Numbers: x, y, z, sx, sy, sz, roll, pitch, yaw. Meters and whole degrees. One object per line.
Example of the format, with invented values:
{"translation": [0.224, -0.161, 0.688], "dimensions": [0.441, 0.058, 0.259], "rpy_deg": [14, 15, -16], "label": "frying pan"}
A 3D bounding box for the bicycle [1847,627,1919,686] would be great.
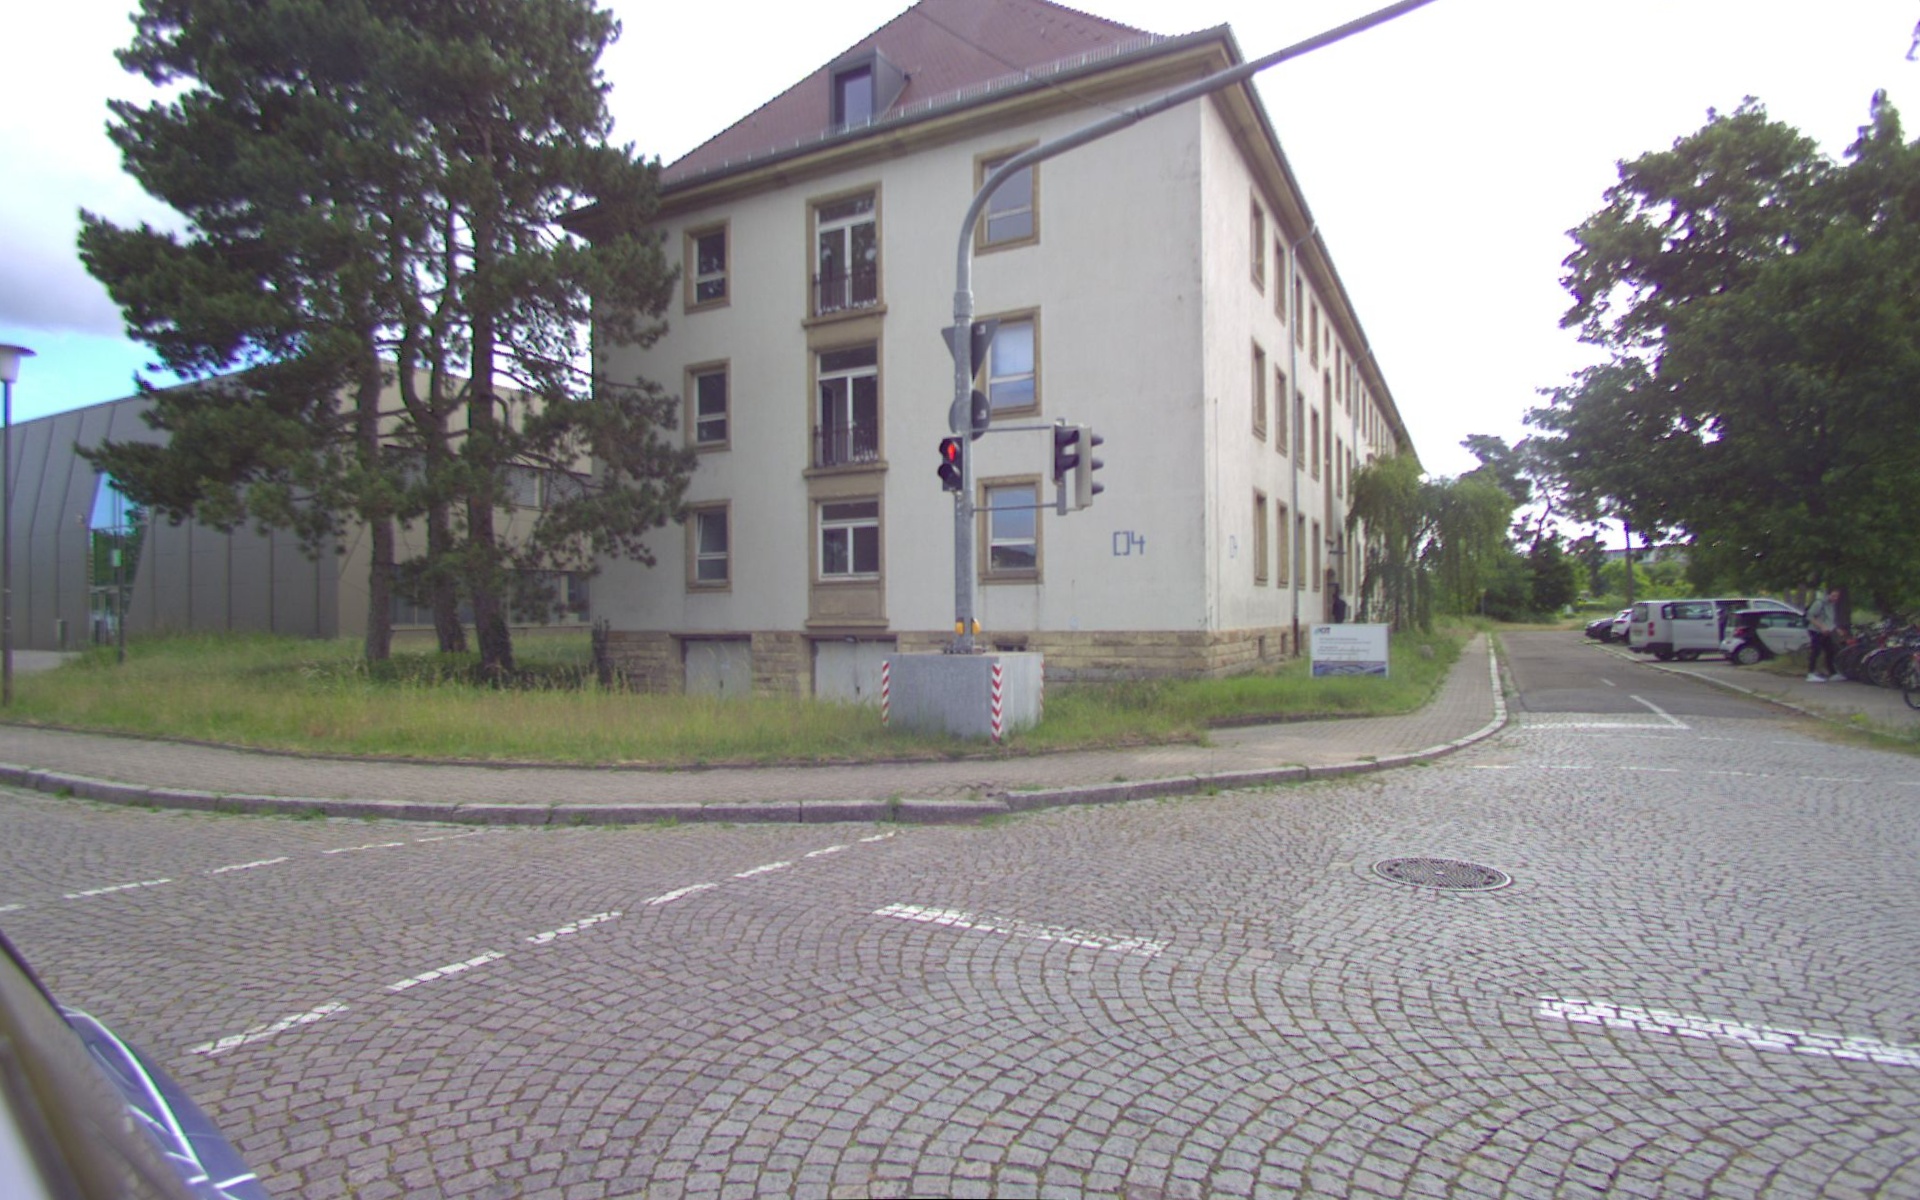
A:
{"translation": [17.732, 1.056, 18.965], "dimensions": [1.578, 1.087, 0.511], "rpy_deg": [-1, -2, 29], "label": "bicycle"}

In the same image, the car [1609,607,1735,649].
{"translation": [30.199, 1.166, 43.067], "dimensions": [4.069, 1.706, 1.791], "rpy_deg": [-1, 0, 25], "label": "car"}

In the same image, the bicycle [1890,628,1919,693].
{"translation": [16.728, 1.022, 16.953], "dimensions": [1.578, 1.087, 0.511], "rpy_deg": [-1, -2, 29], "label": "bicycle"}

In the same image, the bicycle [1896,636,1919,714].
{"translation": [13.810, 1.060, 14.233], "dimensions": [0.513, 1.087, 1.456], "rpy_deg": [-1, -2, 26], "label": "bicycle"}

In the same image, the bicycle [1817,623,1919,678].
{"translation": [18.684, 1.027, 20.751], "dimensions": [1.578, 1.087, 0.511], "rpy_deg": [-1, -2, 29], "label": "bicycle"}

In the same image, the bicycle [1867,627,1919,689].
{"translation": [17.196, 1.029, 17.916], "dimensions": [1.578, 1.087, 0.511], "rpy_deg": [-1, -2, 29], "label": "bicycle"}

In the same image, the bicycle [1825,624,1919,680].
{"translation": [18.463, 1.035, 20.303], "dimensions": [1.578, 1.087, 0.511], "rpy_deg": [-1, -2, 29], "label": "bicycle"}

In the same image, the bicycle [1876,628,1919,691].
{"translation": [16.995, 1.034, 17.513], "dimensions": [1.578, 1.087, 0.511], "rpy_deg": [-1, -2, 29], "label": "bicycle"}

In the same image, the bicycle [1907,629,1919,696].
{"translation": [16.480, 1.021, 16.372], "dimensions": [1.578, 1.087, 0.511], "rpy_deg": [-1, -2, 29], "label": "bicycle"}

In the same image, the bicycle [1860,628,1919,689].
{"translation": [17.367, 1.052, 18.261], "dimensions": [1.578, 1.087, 0.511], "rpy_deg": [-1, -2, 29], "label": "bicycle"}

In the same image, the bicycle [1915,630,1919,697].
{"translation": [16.310, 1.027, 16.055], "dimensions": [1.578, 1.087, 0.511], "rpy_deg": [-1, -2, 29], "label": "bicycle"}

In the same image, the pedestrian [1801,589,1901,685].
{"translation": [17.430, 0.716, 19.811], "dimensions": [1.046, 1.802, 1.161], "rpy_deg": [0, -2, -34], "label": "pedestrian"}

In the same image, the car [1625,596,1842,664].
{"translation": [23.484, 0.896, 30.955], "dimensions": [4.864, 1.967, 1.854], "rpy_deg": [-1, 0, 15], "label": "car"}

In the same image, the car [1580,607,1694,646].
{"translation": [30.845, 1.184, 46.253], "dimensions": [4.069, 1.706, 1.791], "rpy_deg": [-1, 0, 25], "label": "car"}

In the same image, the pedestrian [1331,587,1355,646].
{"translation": [12.826, 0.559, 33.915], "dimensions": [0.678, 1.926, 0.793], "rpy_deg": [-1, -1, 25], "label": "pedestrian"}

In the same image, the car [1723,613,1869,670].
{"translation": [22.636, 1.096, 27.524], "dimensions": [2.775, 1.438, 1.507], "rpy_deg": [-1, 0, 28], "label": "car"}
